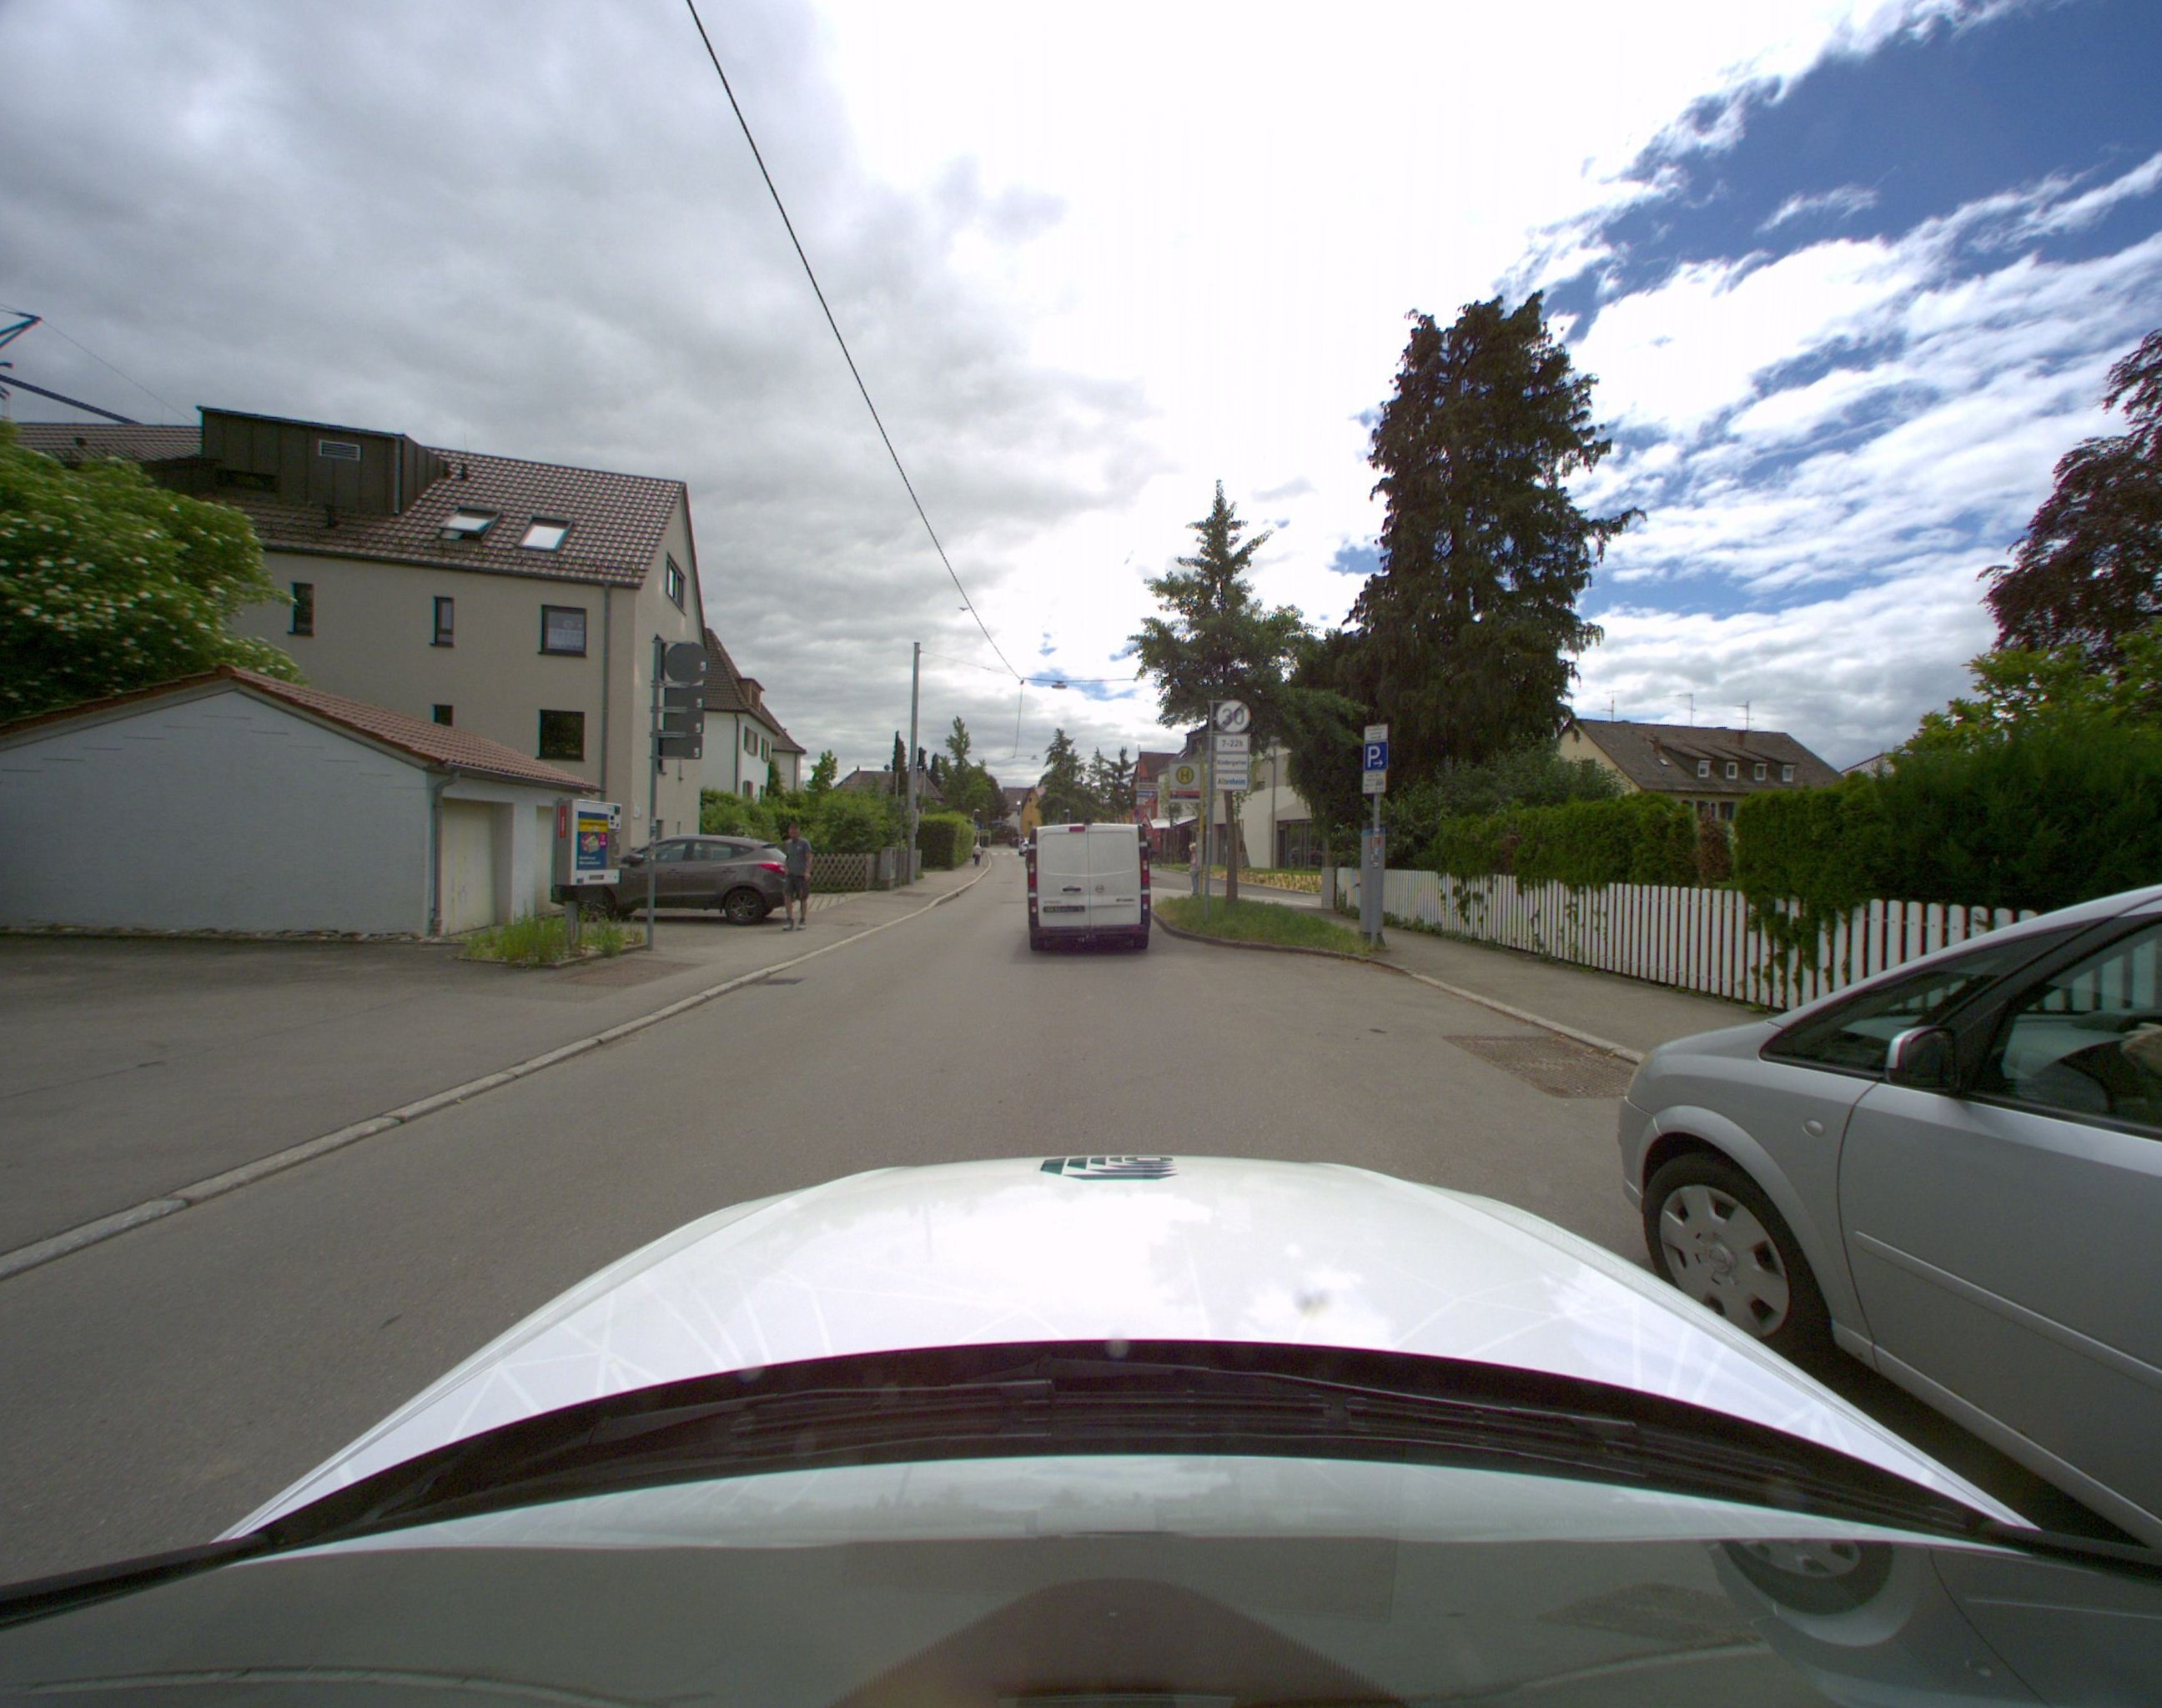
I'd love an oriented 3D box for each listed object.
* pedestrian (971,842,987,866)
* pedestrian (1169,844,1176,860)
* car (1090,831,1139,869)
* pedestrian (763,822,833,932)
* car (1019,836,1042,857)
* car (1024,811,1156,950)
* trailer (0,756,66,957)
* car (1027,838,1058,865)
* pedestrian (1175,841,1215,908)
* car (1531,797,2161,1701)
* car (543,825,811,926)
[{"bbox_3d":[-6.421,-0.008,51.221,0.880,1.485,0.452,3,0,-26],"label":"pedestrian"},{"bbox_3d":[6.876,-0.151,60.983,0.421,1.182,0.323,1,0,-8],"label":"pedestrian"},{"bbox_3d":[1.833,-0.242,45.840,1.956,1.915,4.891,3,0,-6],"label":"car"},{"bbox_3d":[-5.305,0.417,15.338,0.730,1.946,1.218,3,0,3],"label":"pedestrian"},{"bbox_3d":[-4.606,-0.683,73.693,1.991,1.782,3.992,0,0,-6],"label":"car"},{"bbox_3d":[0.015,0.392,14.016,1.911,2.002,4.432,0,0,-3],"label":"car"},{"bbox_3d":[-13.527,-0.089,7.898,4.852,2.079,1.702,3,2,-4],"label":"trailer"},{"bbox_3d":[-2.795,-0.209,58.165,1.991,1.848,3.992,0,0,-6],"label":"car"},{"bbox_3d":[2.951,0.521,21.134,0.851,1.645,0.884,3,0,0],"label":"pedestrian"},{"bbox_3d":[2.763,0.685,1.382,1.754,1.582,4.017,0,0,-1],"label":"car"},{"bbox_3d":[-7.744,0.421,16.046,4.314,1.695,1.790,3,0,-12],"label":"car"}]
